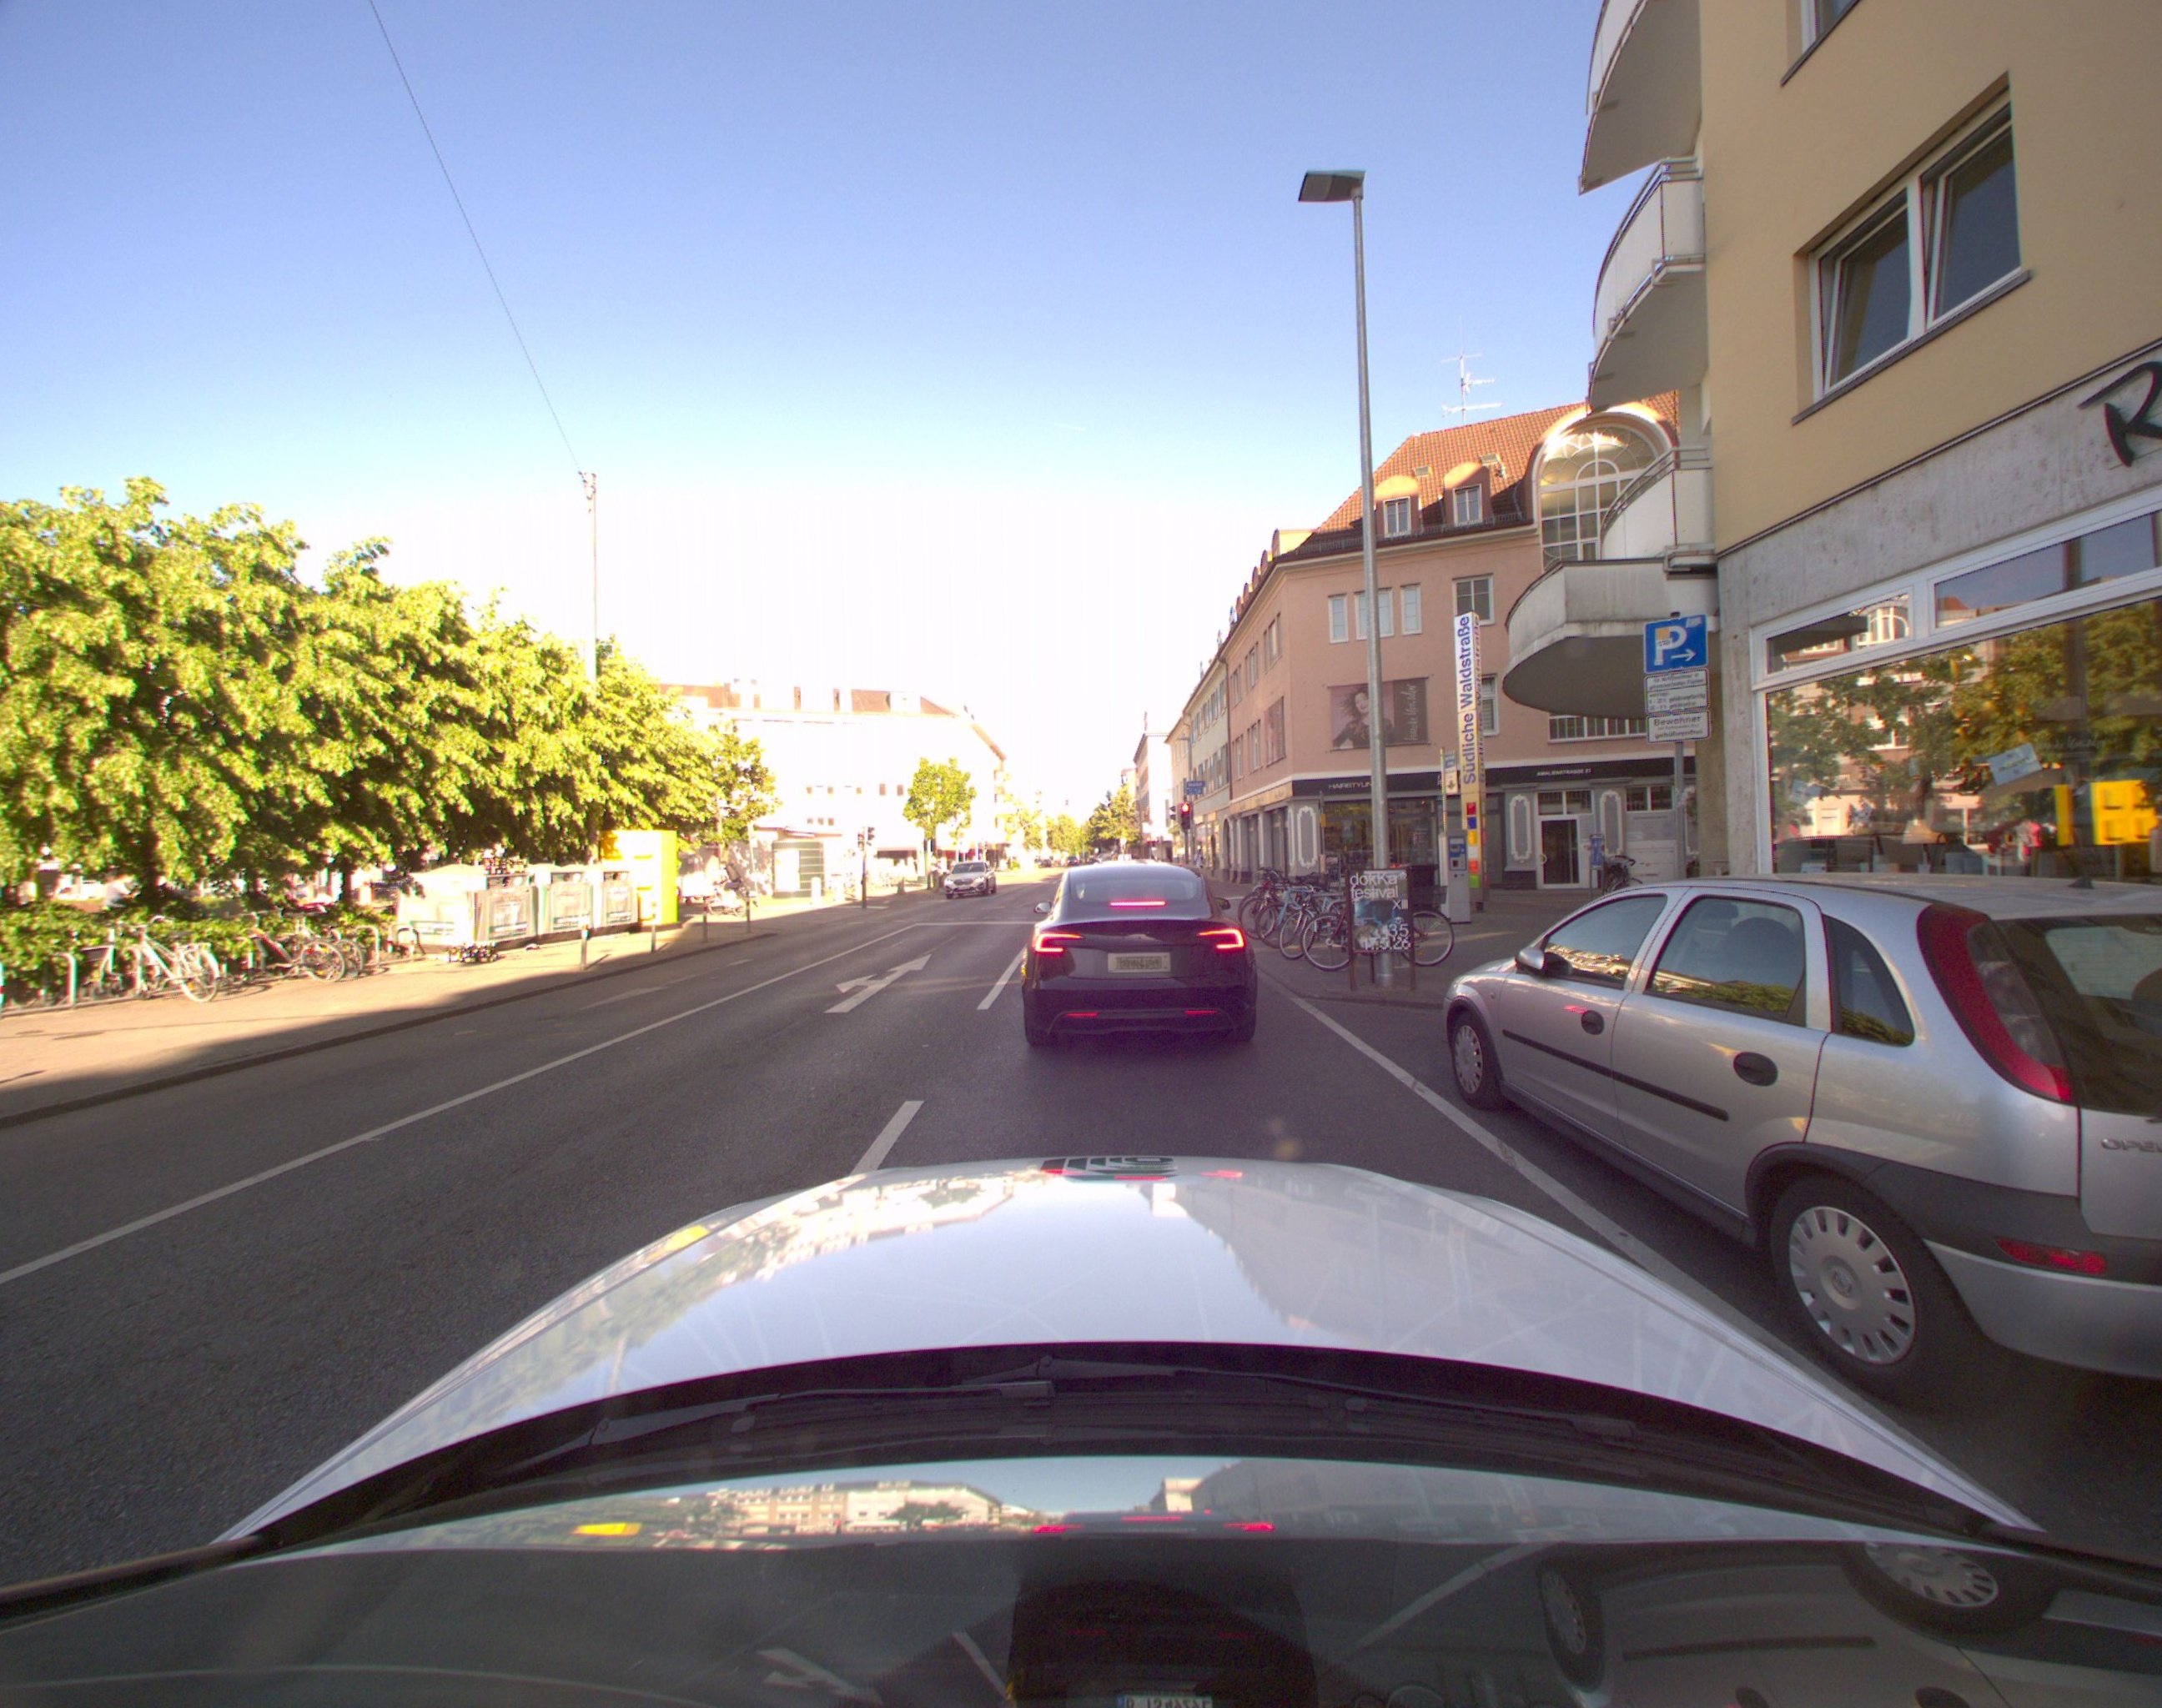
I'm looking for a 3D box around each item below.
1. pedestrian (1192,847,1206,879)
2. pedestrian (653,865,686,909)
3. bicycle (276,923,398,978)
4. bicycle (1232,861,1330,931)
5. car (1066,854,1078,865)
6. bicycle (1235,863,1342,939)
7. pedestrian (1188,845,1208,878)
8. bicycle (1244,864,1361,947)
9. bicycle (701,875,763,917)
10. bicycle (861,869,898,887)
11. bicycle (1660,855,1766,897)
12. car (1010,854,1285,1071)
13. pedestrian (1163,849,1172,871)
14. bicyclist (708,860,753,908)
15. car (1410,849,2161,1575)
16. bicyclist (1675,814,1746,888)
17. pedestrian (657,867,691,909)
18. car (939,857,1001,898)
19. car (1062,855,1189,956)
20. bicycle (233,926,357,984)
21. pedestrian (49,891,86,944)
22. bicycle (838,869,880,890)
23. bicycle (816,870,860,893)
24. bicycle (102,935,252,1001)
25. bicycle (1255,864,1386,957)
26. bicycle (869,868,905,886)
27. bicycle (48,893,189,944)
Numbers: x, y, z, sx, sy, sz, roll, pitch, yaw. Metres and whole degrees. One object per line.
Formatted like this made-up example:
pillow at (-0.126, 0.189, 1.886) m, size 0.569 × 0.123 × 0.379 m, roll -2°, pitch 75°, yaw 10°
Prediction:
pedestrian at (6.643, 0.507, 45.927) m, size 0.701 × 1.783 × 0.534 m, roll -1°, pitch 0°, yaw 1°
pedestrian at (-16.632, 1.322, 32.911) m, size 0.897 × 1.725 × 0.745 m, roll -1°, pitch 0°, yaw 5°
bicycle at (-11.250, 1.461, 12.325) m, size 1.466 × 0.769 × 0.475 m, roll -1°, pitch -1°, yaw 4°
bicycle at (3.621, 0.763, 14.801) m, size 1.621 × 1.160 × 0.433 m, roll -3°, pitch 0°, yaw 2°
car at (-1.468, 0.933, 135.782) m, size 1.824 × 1.724 × 4.000 m, roll -1°, pitch 0°, yaw 0°
bicycle at (3.445, 0.774, 13.571) m, size 1.622 × 1.160 × 0.433 m, roll -3°, pitch 0°, yaw 0°
pedestrian at (6.590, 0.421, 45.898) m, size 0.995 × 1.850 × 0.615 m, roll -1°, pitch 0°, yaw 1°
bicycle at (3.398, 0.776, 12.538) m, size 1.622 × 1.160 × 0.433 m, roll -3°, pitch 0°, yaw 0°
bicycle at (-10.822, 1.291, 25.242) m, size 1.751 × 1.233 × 0.803 m, roll -1°, pitch 0°, yaw 26°
bicycle at (-12.480, 1.483, 50.424) m, size 2.075 × 1.104 × 0.806 m, roll -1°, pitch 0°, yaw 1°
bicycle at (14.569, 0.502, 18.818) m, size 1.850 × 0.946 × 0.631 m, roll 0°, pitch 0°, yaw 12°
car at (0.539, 0.747, 7.456) m, size 1.842 × 1.455 × 3.788 m, roll -1°, pitch 0°, yaw 3°
pedestrian at (6.707, 0.472, 63.189) m, size 0.568 × 1.691 × 0.387 m, roll -1°, pitch 0°, yaw 1°
bicyclist at (-10.862, 0.926, 25.260) m, size 0.995 × 1.435 × 0.803 m, roll -1°, pitch 0°, yaw 26°
car at (2.945, 0.697, 3.515) m, size 1.615 × 1.394 × 3.888 m, roll -1°, pitch 0°, yaw 3°
bicyclist at (14.528, -0.065, 18.829) m, size 1.112 × 1.654 × 0.631 m, roll -1°, pitch 0°, yaw 12°
pedestrian at (-16.437, 1.369, 32.893) m, size 0.981 × 1.636 × 0.738 m, roll -1°, pitch 0°, yaw 5°
car at (-4.902, 1.009, 36.394) m, size 1.986 × 1.541 × 4.002 m, roll -5°, pitch 0°, yaw 2°
car at (0.747, 0.763, 13.934) m, size 1.842 × 1.455 × 3.788 m, roll -1°, pitch 0°, yaw 3°
bicycle at (-11.344, 1.452, 11.769) m, size 1.465 × 0.769 × 0.442 m, roll -1°, pitch -1°, yaw 6°
pedestrian at (-39.440, 2.444, 31.689) m, size 0.577 × 2.014 × 0.682 m, roll -1°, pitch -1°, yaw 9°
bicycle at (-12.433, 1.442, 45.645) m, size 2.075 × 1.104 × 0.806 m, roll -1°, pitch 0°, yaw 1°
bicycle at (-12.850, 1.452, 43.133) m, size 2.075 × 1.104 × 0.806 m, roll -1°, pitch 0°, yaw 1°
bicycle at (-11.471, 1.432, 10.343) m, size 1.645 × 0.769 × 0.476 m, roll -1°, pitch -1°, yaw 10°
bicycle at (3.288, 0.768, 11.244) m, size 1.622 × 1.160 × 0.433 m, roll -3°, pitch 0°, yaw 0°
bicycle at (-12.522, 1.454, 52.620) m, size 2.075 × 1.104 × 0.806 m, roll -1°, pitch 0°, yaw 1°
bicycle at (-22.065, 1.461, 18.744) m, size 0.498 × 1.017 × 2.068 m, roll -1°, pitch -1°, yaw 15°
